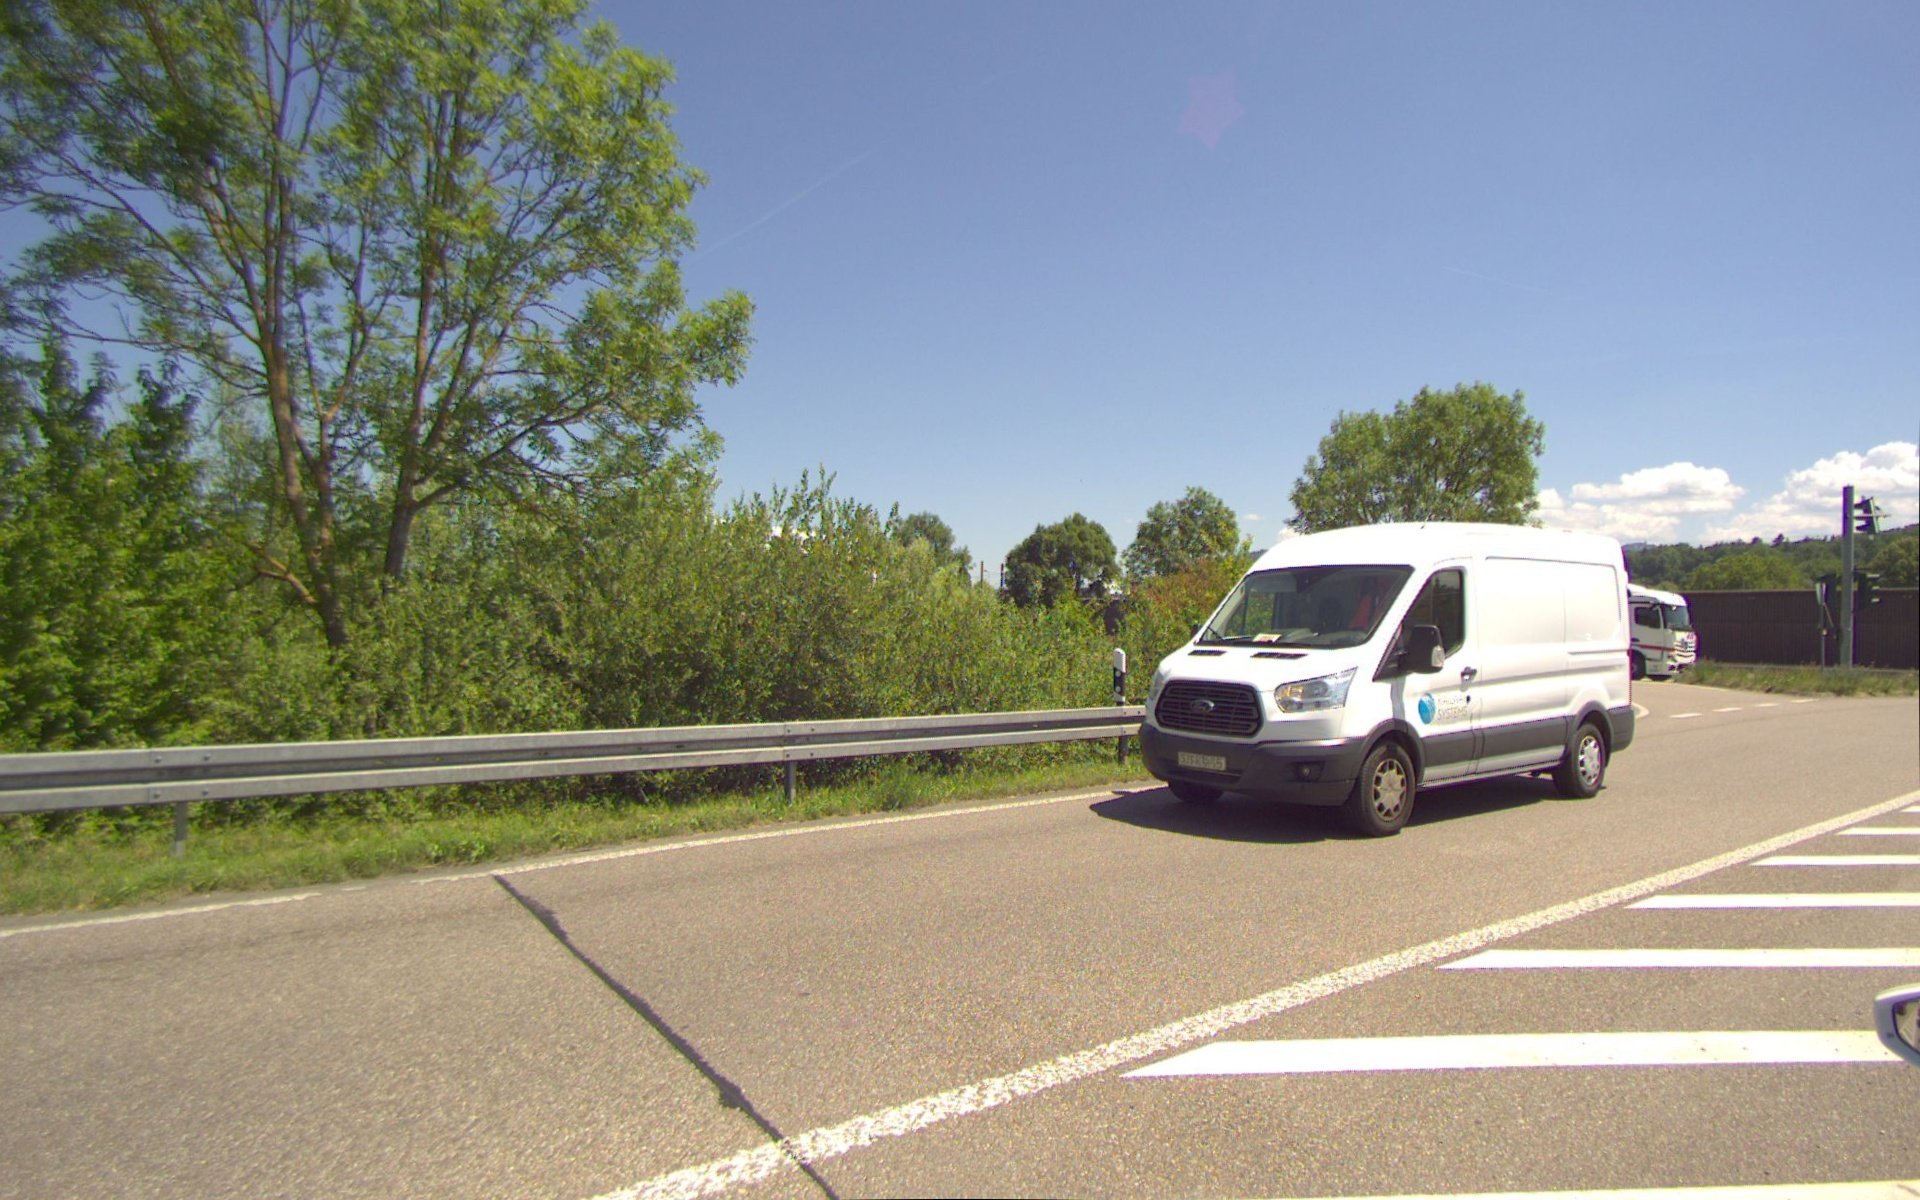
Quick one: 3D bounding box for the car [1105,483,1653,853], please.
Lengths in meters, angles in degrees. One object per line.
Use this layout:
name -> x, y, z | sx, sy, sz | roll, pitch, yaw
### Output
car -> 4.004, 0.554, 9.091 | 5.535, 2.448, 1.980 | 2, -3, -36

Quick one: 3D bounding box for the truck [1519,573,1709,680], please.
truck -> 26.513, 1.035, 40.944 | 3.027, 4.007, 5.736 | 2, -1, -31

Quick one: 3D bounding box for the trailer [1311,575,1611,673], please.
trailer -> 22.818, 1.039, 47.178 | 3.027, 4.007, 13.074 | 2, -1, -31
